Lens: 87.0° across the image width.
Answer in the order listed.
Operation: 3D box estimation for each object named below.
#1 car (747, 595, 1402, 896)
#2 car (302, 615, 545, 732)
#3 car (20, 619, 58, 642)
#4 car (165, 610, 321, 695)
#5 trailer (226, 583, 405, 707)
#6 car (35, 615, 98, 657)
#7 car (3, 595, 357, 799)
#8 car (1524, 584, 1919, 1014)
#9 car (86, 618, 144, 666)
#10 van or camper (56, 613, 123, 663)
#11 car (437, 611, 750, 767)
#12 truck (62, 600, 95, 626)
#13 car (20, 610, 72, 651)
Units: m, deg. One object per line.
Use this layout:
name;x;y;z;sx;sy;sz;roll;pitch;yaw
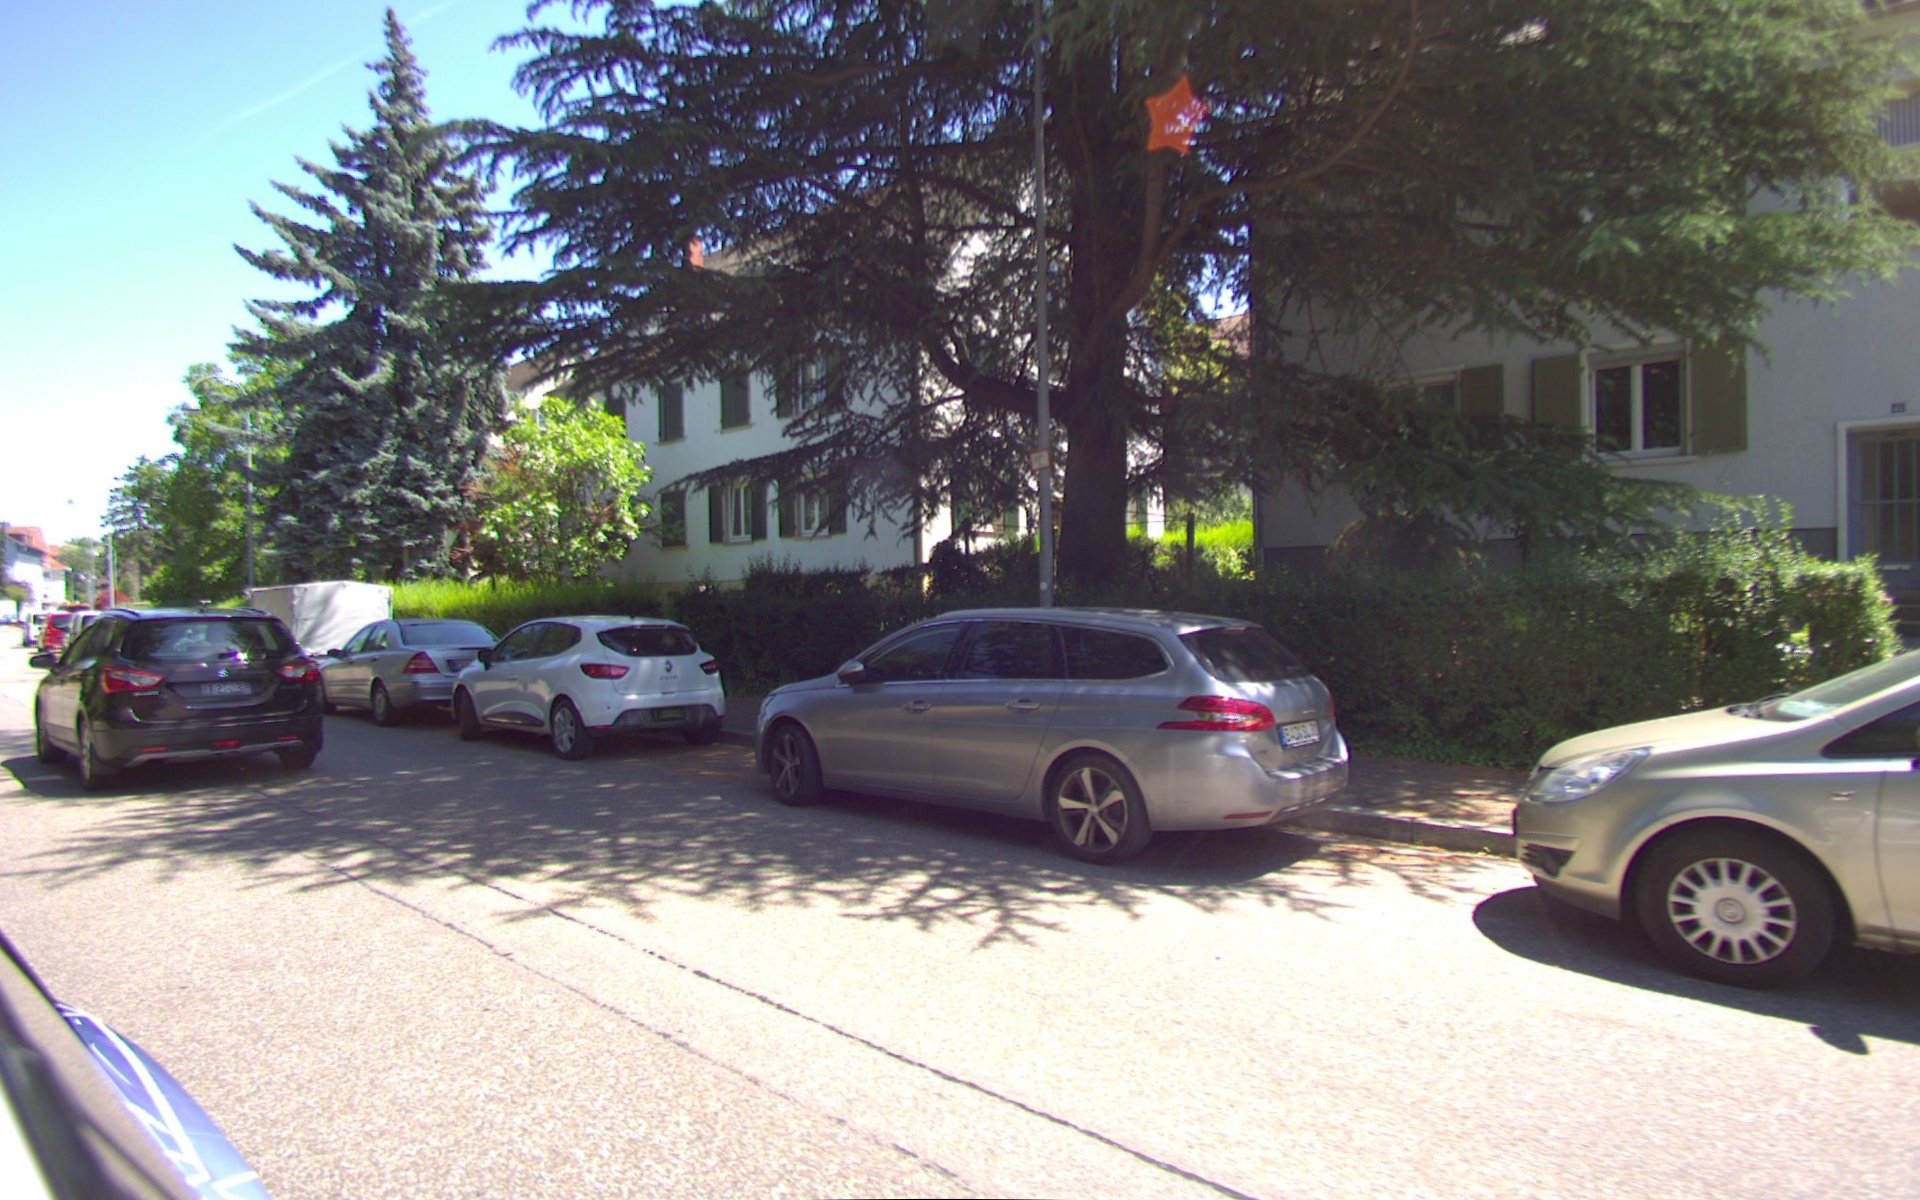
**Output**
car;0.536;0.735;6.990;4.271;1.453;1.777;-1;-1;42
car;-7.935;0.956;14.777;4.476;1.453;1.777;-1;-1;43
car;-68.546;2.248;75.278;4.001;1.650;1.867;-1;-2;45
car;-15.336;1.053;21.551;4.548;1.631;1.749;-1;-2;42
trailer;-12.044;0.794;18.831;3.999;2.049;1.795;-1;-2;42
car;-39.871;1.567;45.139;3.614;1.772;1.867;-1;-2;45
car;-7.788;0.782;9.968;4.137;1.586;1.880;-1;0;39
car;4.351;0.667;3.641;3.782;1.453;1.778;-1;-1;41
car;-29.208;1.417;34.966;2.322;1.589;1.291;-1;-1;44
van or camper;-32.917;1.399;38.242;3.889;1.784;1.562;-1;-1;44
car;-4.264;0.870;11.485;3.896;1.453;1.777;-1;-1;43
truck;-103.184;1.552;118.554;2.192;2.954;6.740;1;-1;-35
car;-49.246;1.638;54.508;4.001;2.131;1.867;-1;-2;45
